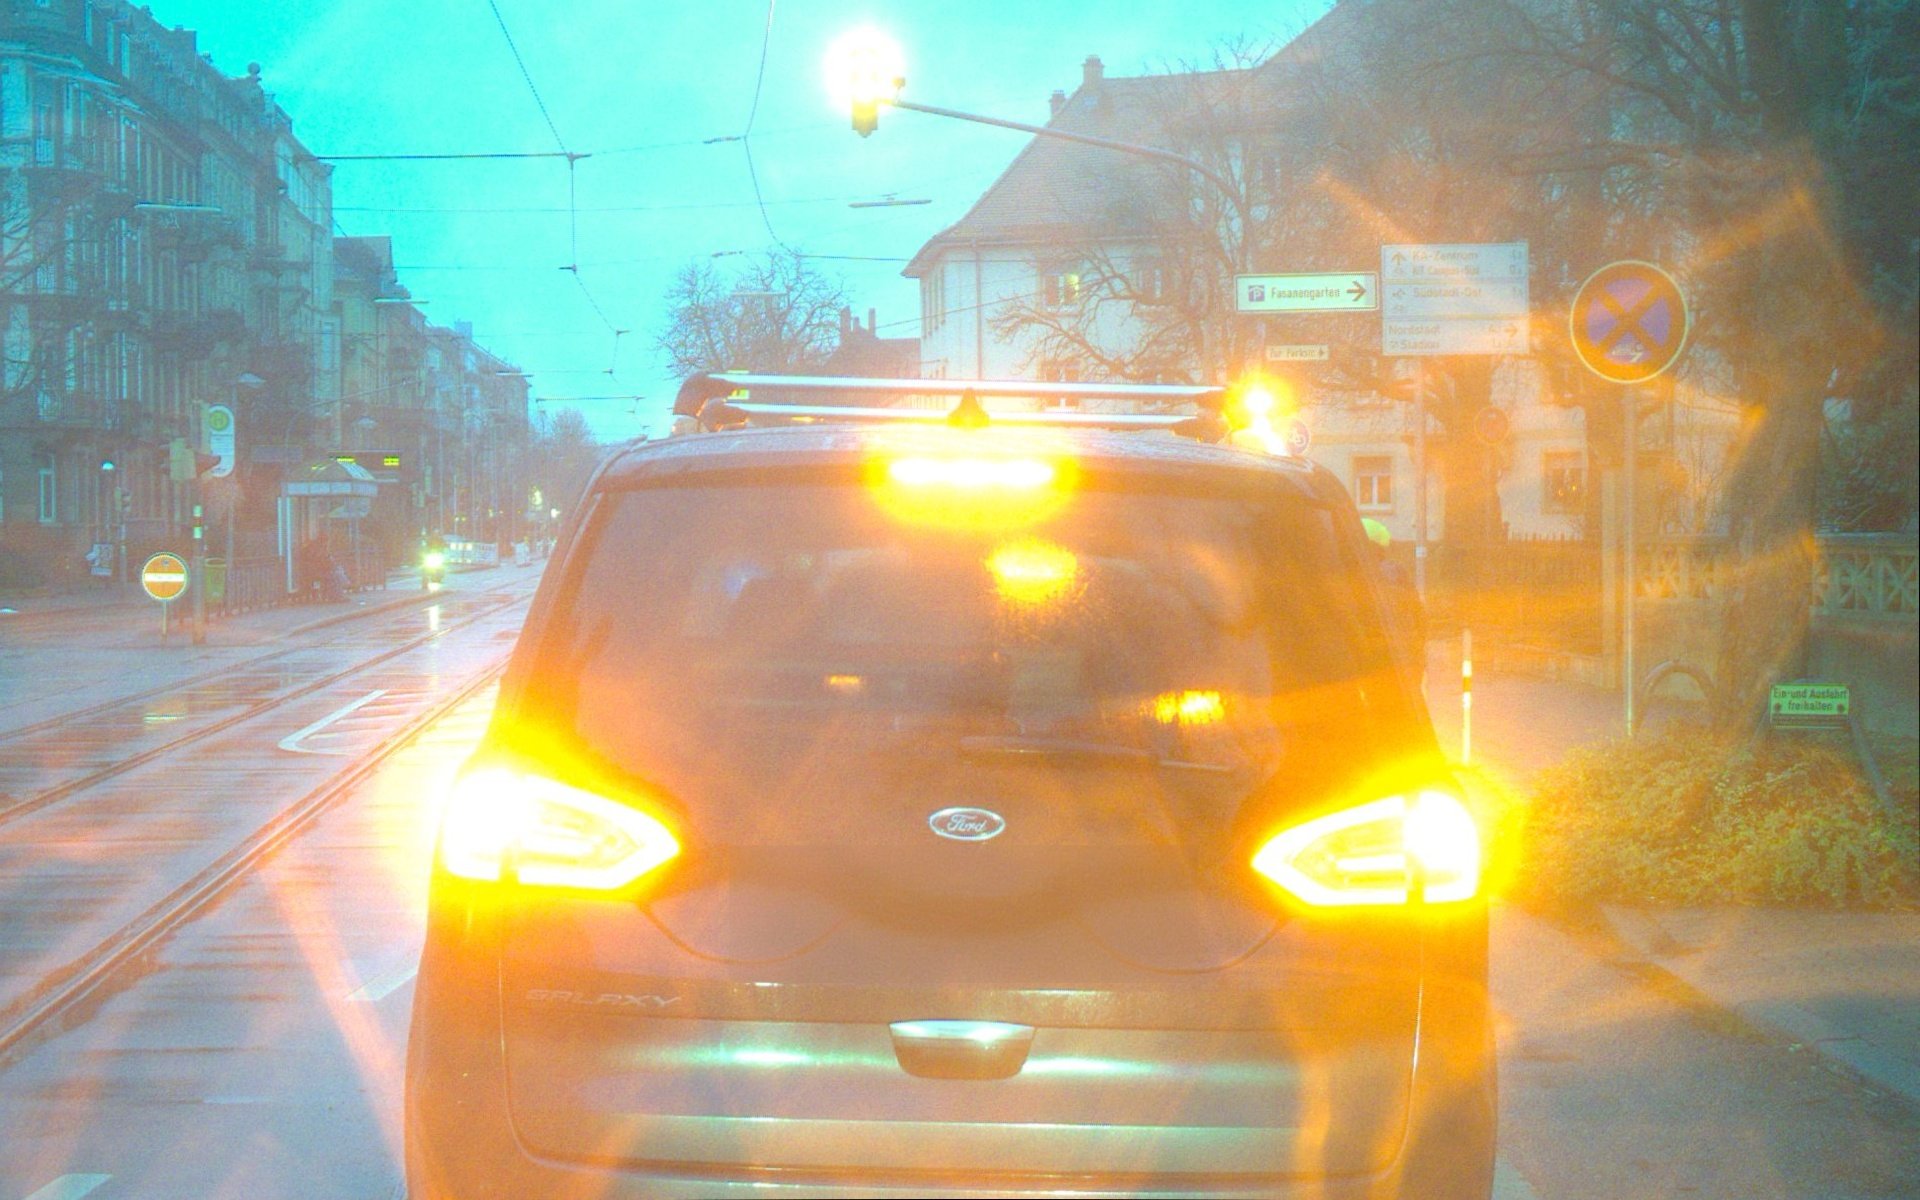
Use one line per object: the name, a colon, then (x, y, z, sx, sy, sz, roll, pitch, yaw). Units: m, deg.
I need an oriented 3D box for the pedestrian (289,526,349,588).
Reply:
pedestrian: (-12.682, -0.848, 68.055, 1.047, 1.196, 0.885, 0, 0, -3)

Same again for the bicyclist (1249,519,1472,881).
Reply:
bicyclist: (1.918, 0.457, 16.603, 0.716, 1.657, 1.057, 3, 1, -8)

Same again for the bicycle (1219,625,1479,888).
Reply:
bicycle: (1.867, 0.731, 16.799, 0.716, 1.108, 1.942, 4, 1, -9)

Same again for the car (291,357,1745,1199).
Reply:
car: (-0.005, 0.528, 7.375, 2.103, 1.810, 4.661, 1, 1, -2)
